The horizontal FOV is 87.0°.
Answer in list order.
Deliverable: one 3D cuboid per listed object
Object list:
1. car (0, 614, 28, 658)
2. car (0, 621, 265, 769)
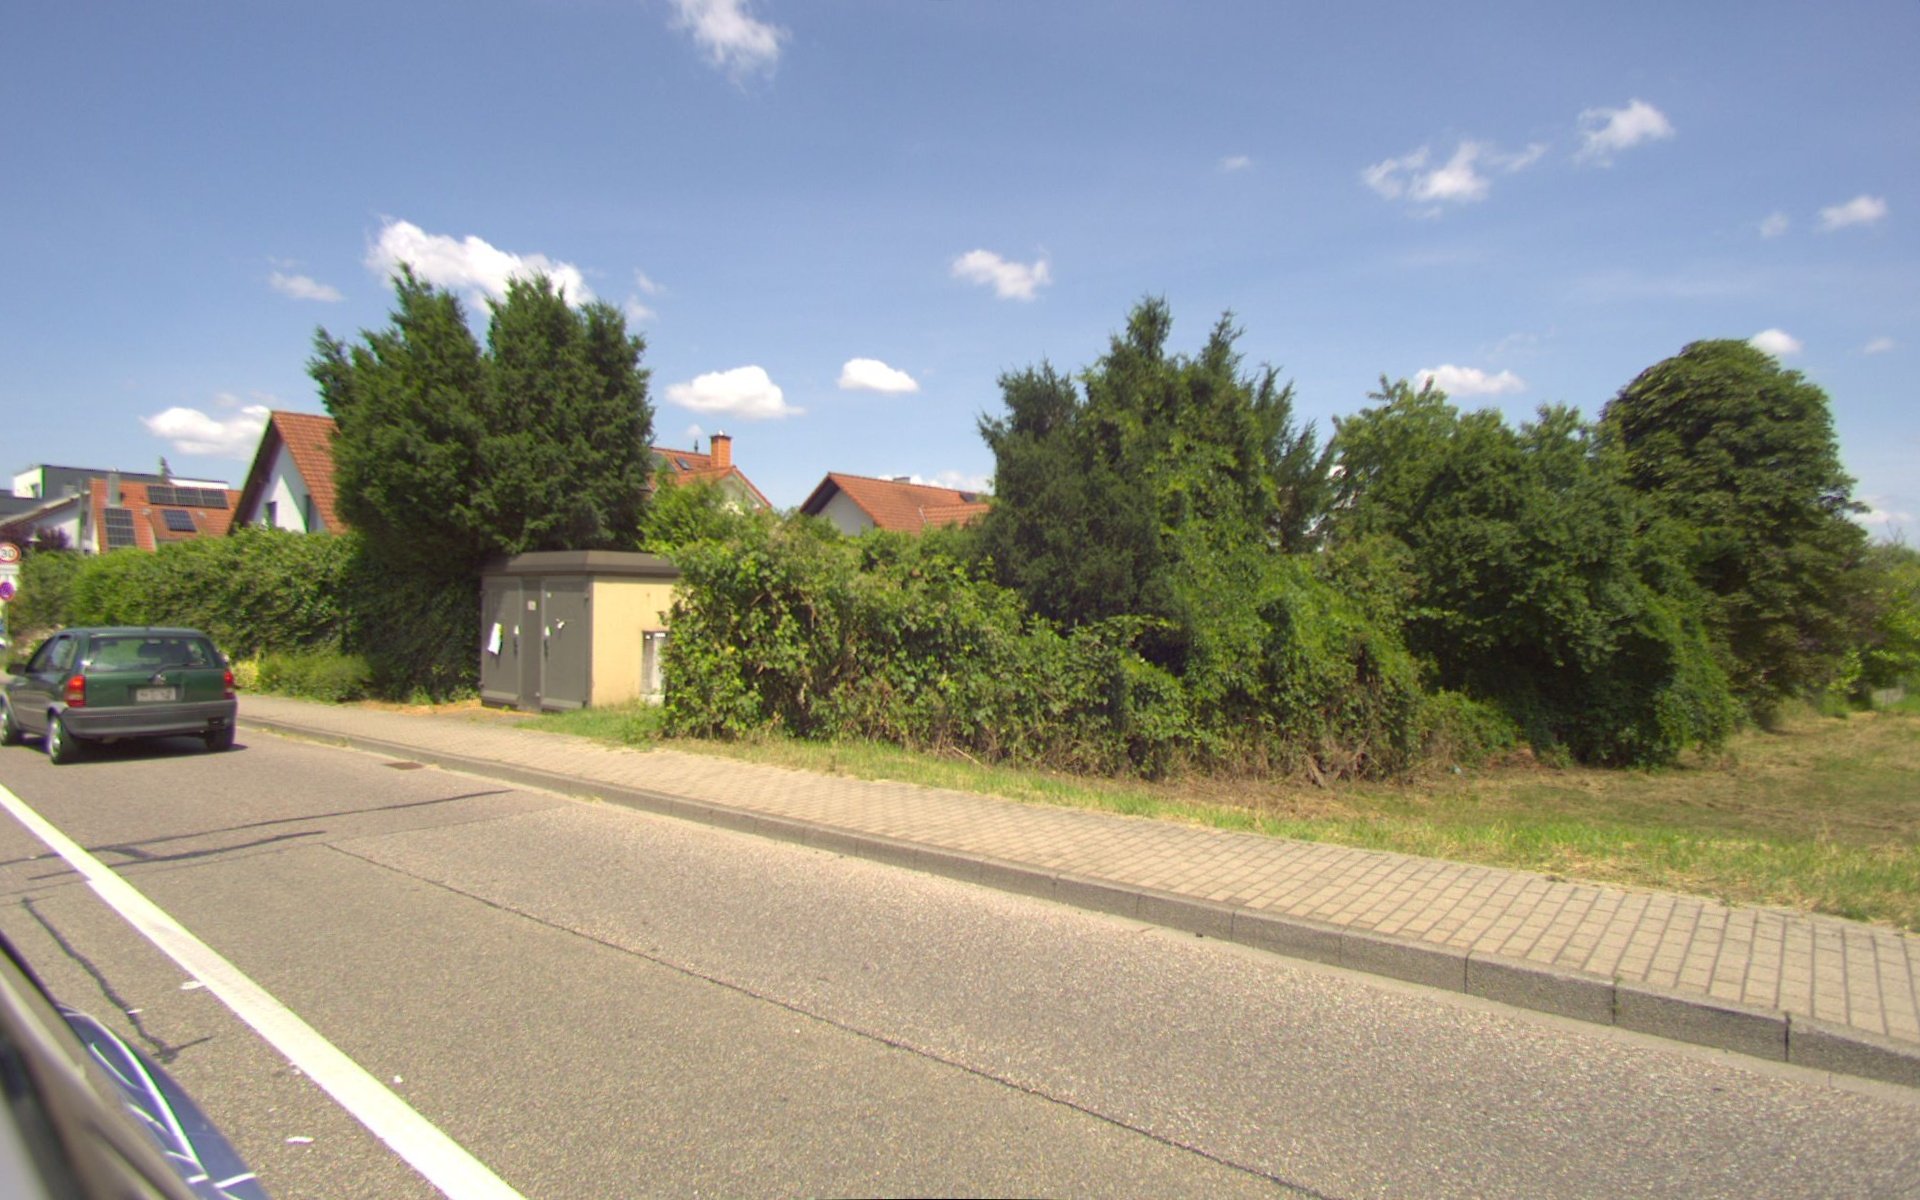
[{"bbox_3d":[-37.629,1.393,37.897,3.695,1.611,1.729,-1,-2,-26],"label":"car"},{"bbox_3d":[-9.842,0.981,11.808,3.867,1.444,1.763,-1,-2,38],"label":"car"}]
